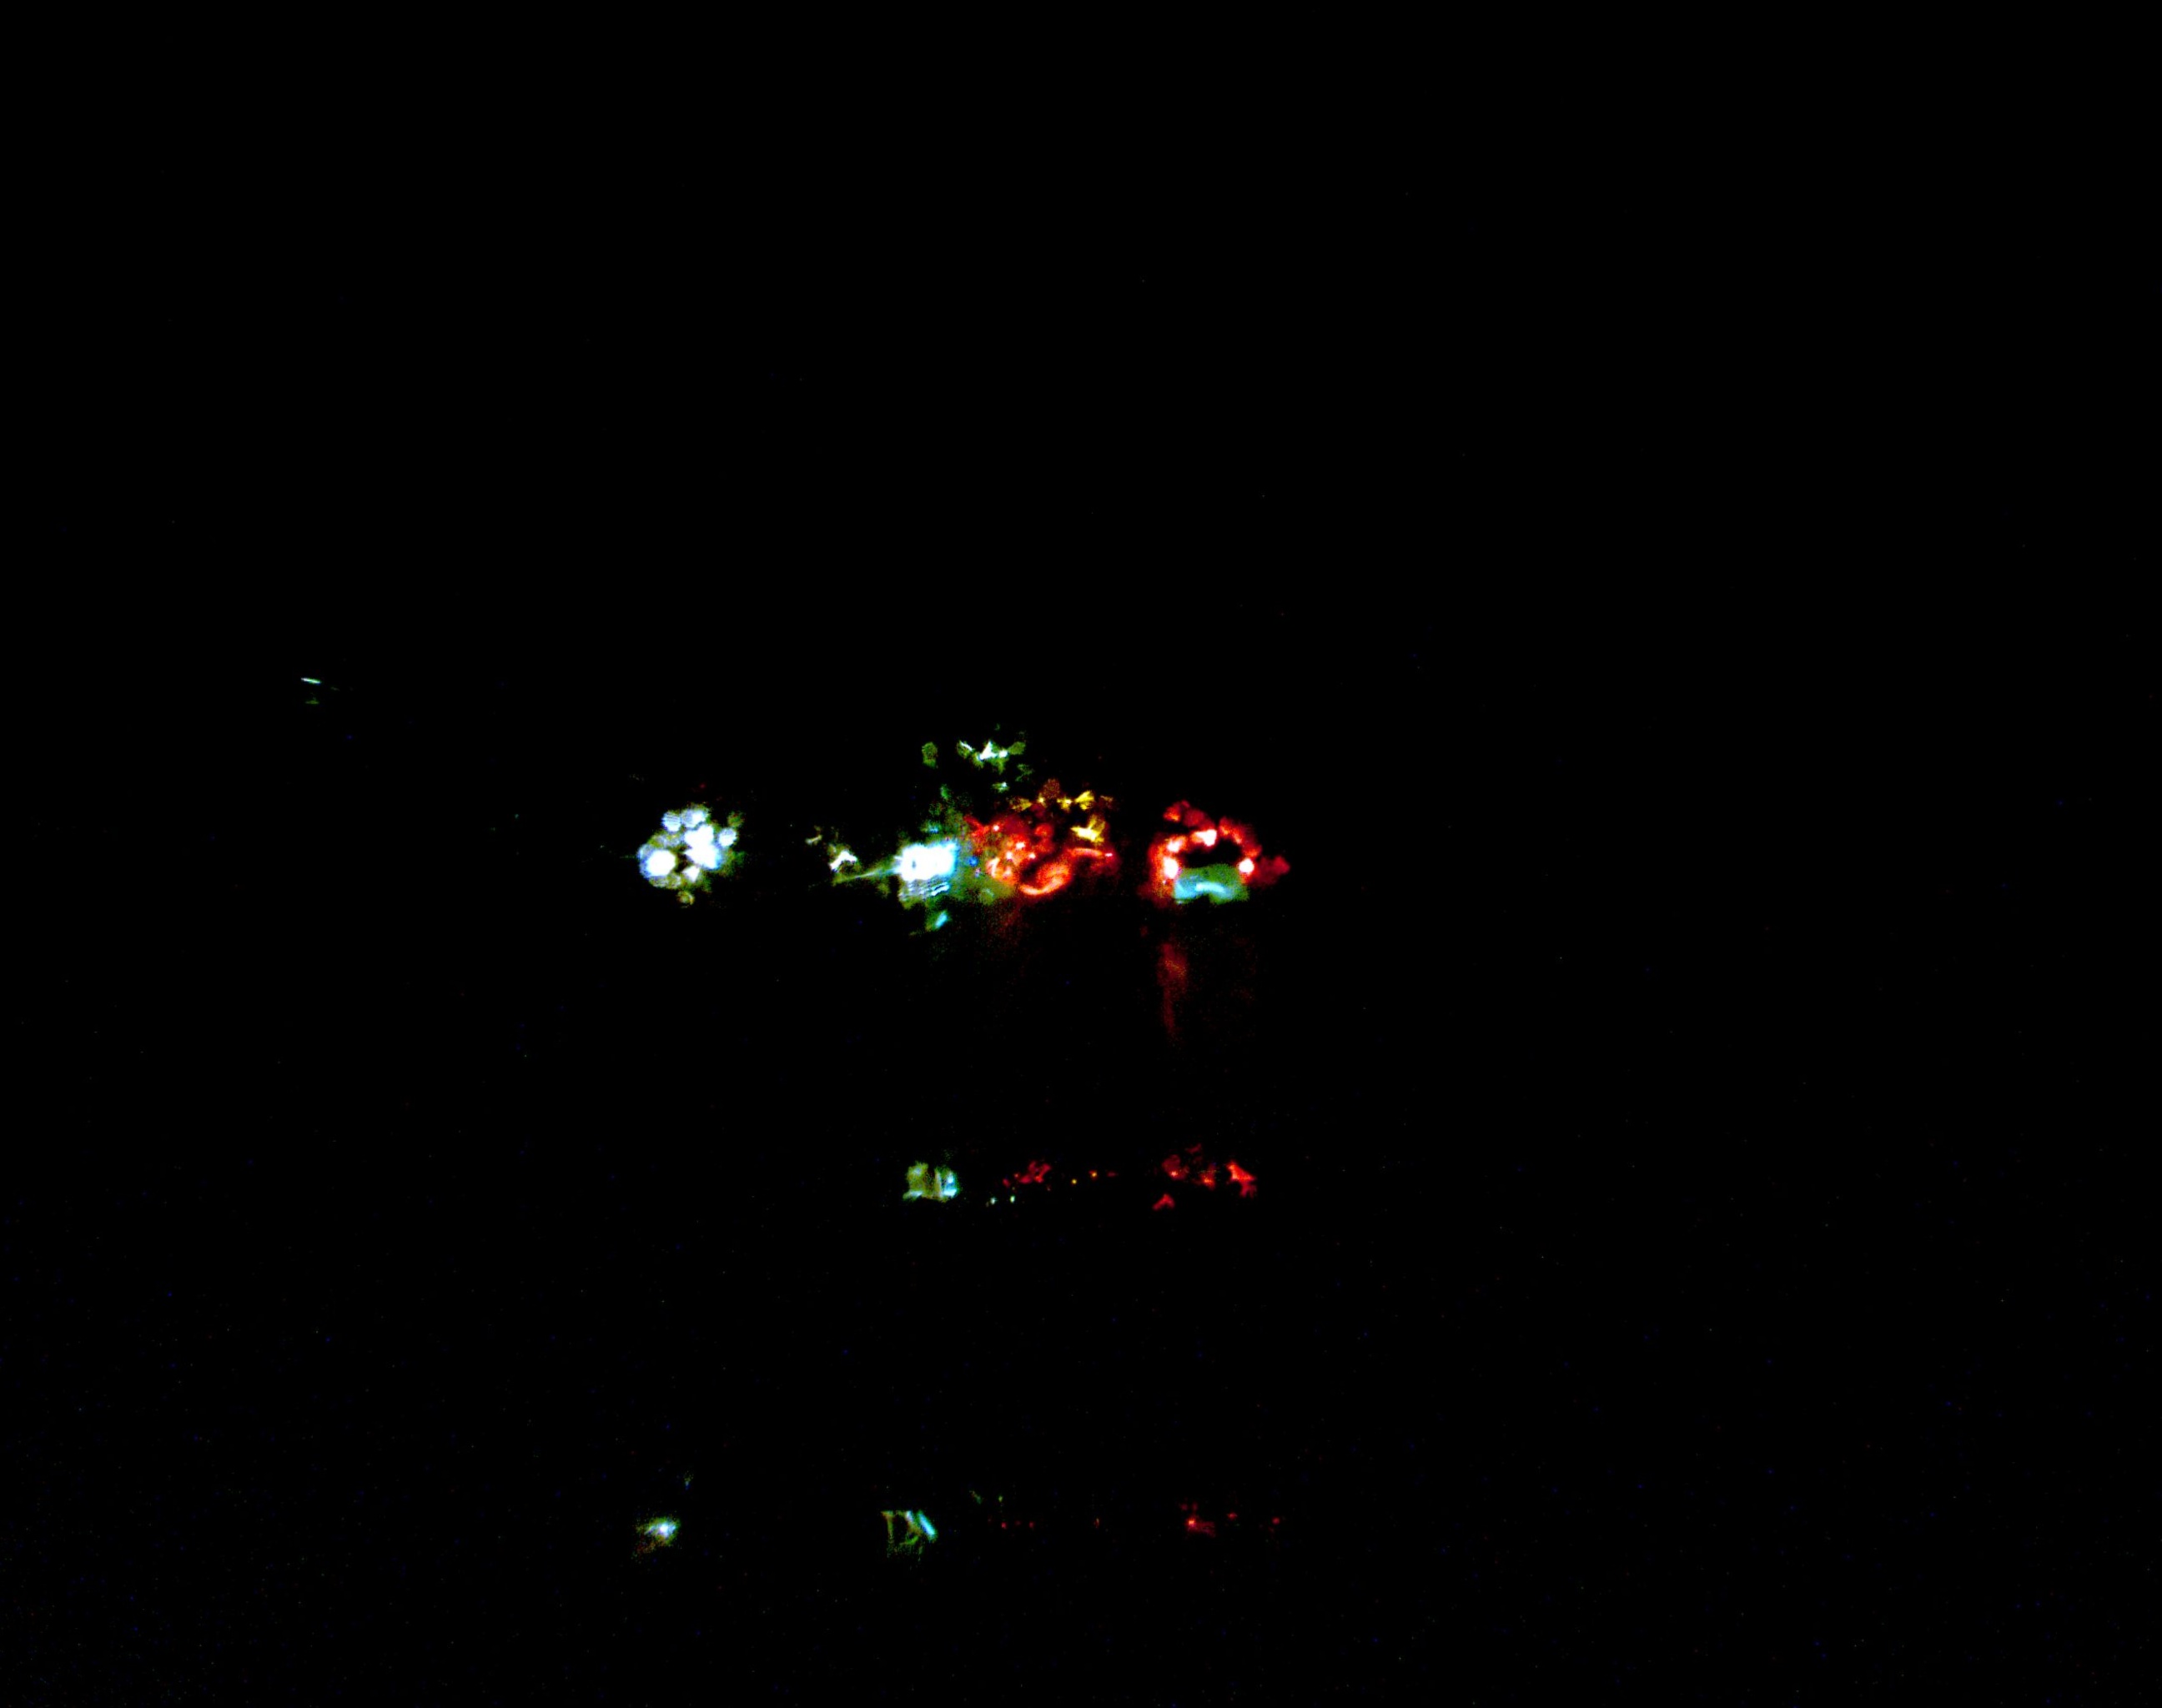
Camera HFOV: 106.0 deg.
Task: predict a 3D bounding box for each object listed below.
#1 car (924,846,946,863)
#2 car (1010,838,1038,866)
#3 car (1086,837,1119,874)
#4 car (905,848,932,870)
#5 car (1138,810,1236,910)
[{"bbox_3d":[-14.108,0.008,79.005,1.759,1.641,4.643,0,1,-6],"label":"car"},{"bbox_3d":[-3.847,-0.195,54.910,1.781,1.782,4.429,-1,1,-5],"label":"car"},{"bbox_3d":[1.275,0.034,48.006,1.785,2.021,4.581,-1,1,1],"label":"car"},{"bbox_3d":[-12.037,0.362,60.537,1.801,1.588,4.018,0,0,-9],"label":"car"},{"bbox_3d":[2.356,0.083,19.105,1.785,2.021,4.581,-1,1,1],"label":"car"}]
